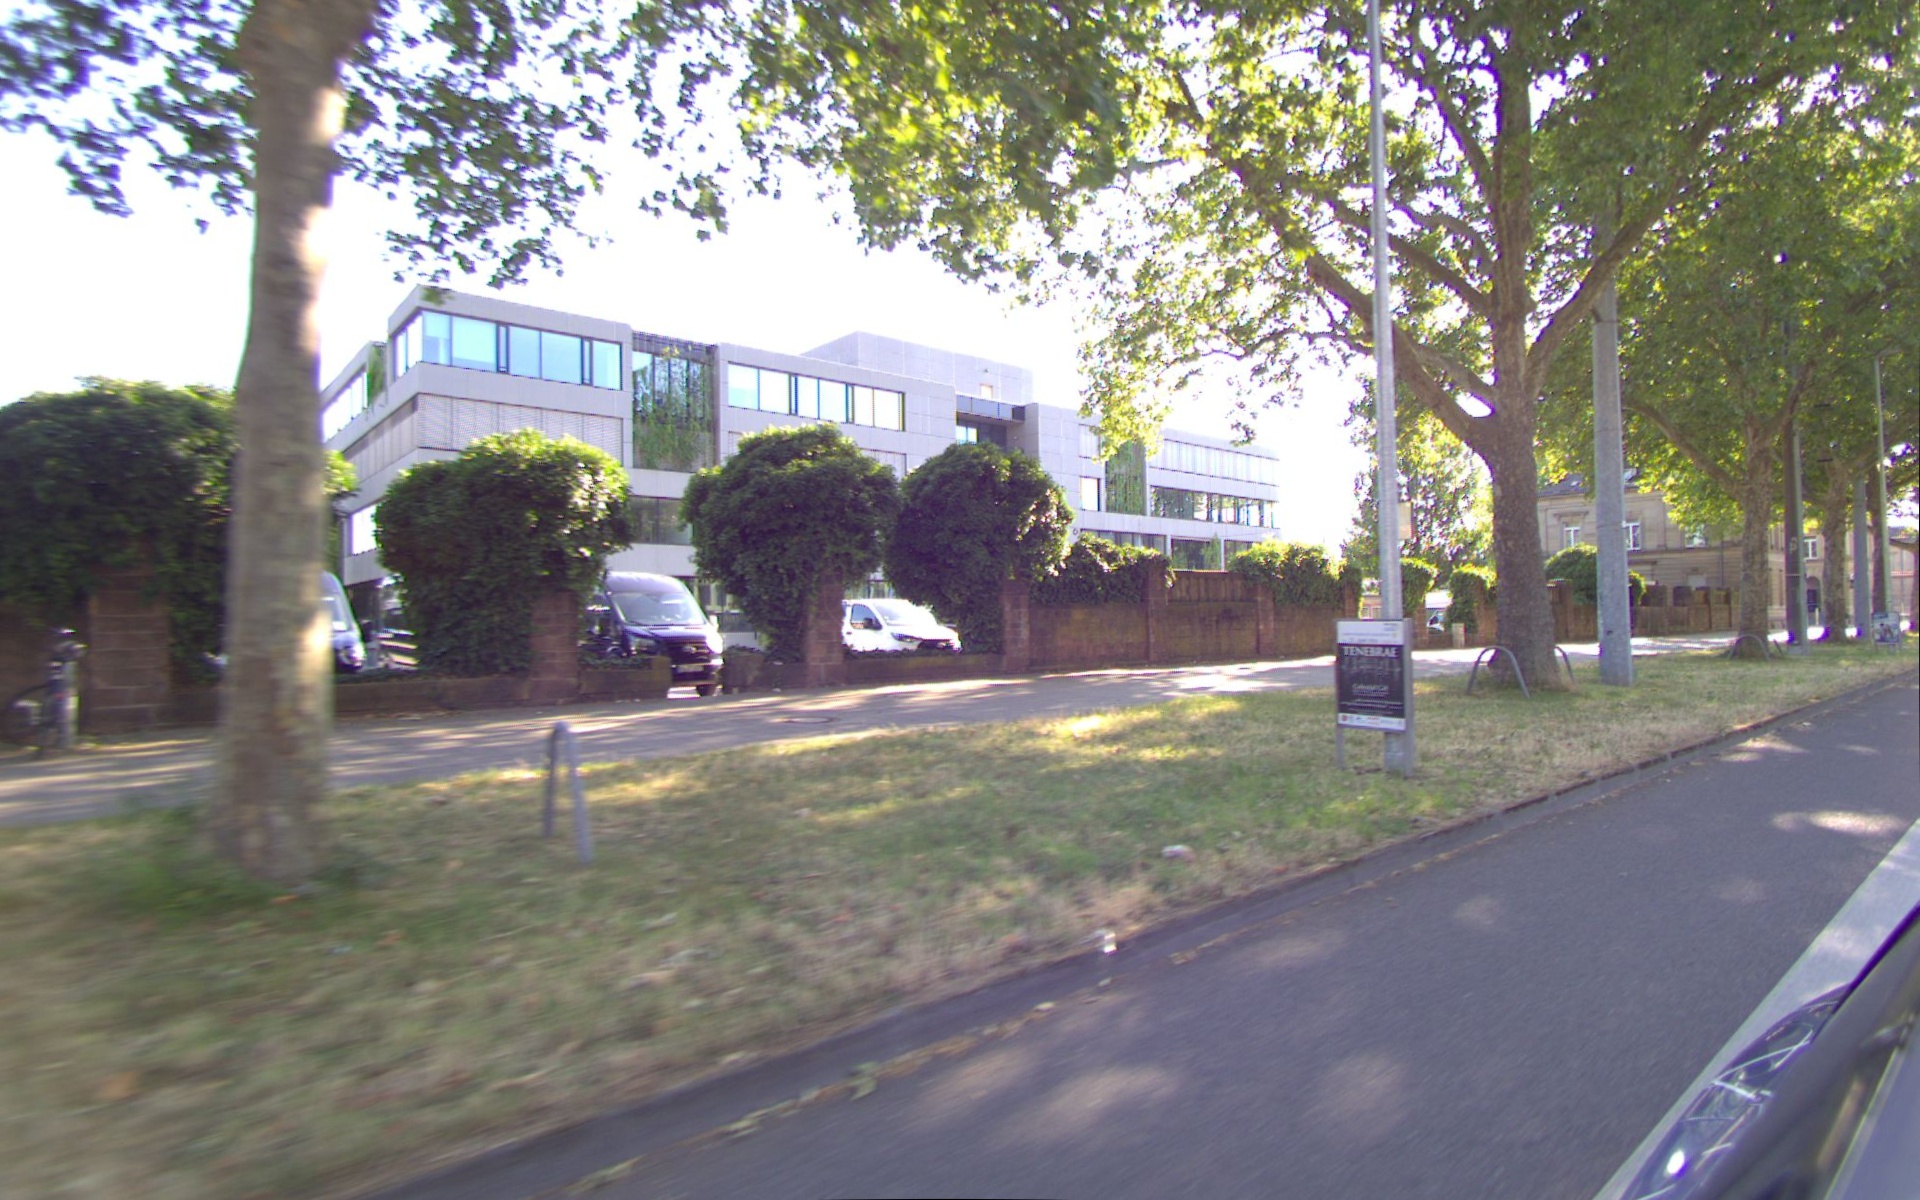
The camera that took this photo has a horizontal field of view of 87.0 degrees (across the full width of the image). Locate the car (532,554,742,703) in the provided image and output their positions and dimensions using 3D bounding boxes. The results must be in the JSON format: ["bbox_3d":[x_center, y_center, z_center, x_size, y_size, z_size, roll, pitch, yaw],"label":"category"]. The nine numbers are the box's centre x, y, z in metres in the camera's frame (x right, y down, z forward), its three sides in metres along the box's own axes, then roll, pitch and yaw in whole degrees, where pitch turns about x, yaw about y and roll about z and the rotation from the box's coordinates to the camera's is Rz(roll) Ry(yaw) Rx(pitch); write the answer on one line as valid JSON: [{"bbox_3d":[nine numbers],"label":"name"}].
[{"bbox_3d":[-6.508,0.582,19.916,1.965,2.522,5.468,0,-2,-40],"label":"car"}]

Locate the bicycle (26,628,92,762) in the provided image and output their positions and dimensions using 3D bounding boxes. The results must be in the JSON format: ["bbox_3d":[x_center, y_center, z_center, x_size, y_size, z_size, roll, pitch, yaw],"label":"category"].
[{"bbox_3d":[-8.600,0.860,9.684,0.432,1.134,1.690,0,0,-41],"label":"bicycle"}]

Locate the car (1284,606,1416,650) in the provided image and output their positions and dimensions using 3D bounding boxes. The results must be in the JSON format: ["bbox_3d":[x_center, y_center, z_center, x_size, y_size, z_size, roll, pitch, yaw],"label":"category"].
[{"bbox_3d":[14.408,1.027,37.494,4.099,1.541,2.012,-2,-1,41],"label":"car"}]

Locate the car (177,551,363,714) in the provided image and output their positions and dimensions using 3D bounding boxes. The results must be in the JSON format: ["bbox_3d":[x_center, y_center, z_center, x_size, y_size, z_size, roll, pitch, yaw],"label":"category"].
[{"bbox_3d":[-10.712,0.455,15.599,1.965,2.165,3.993,0,-1,-41],"label":"car"}]

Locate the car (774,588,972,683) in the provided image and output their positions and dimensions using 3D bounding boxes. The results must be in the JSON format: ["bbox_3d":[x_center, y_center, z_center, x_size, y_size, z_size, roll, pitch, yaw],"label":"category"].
[{"bbox_3d":[-2.205,0.837,23.993,1.965,2.008,5.270,0,-2,-40],"label":"car"}]

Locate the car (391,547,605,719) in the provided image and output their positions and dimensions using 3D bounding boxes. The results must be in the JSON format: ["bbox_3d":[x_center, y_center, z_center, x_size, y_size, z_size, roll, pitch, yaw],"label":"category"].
[{"bbox_3d":[-8.203,0.583,17.627,1.965,2.522,5.468,0,-2,-40],"label":"car"}]

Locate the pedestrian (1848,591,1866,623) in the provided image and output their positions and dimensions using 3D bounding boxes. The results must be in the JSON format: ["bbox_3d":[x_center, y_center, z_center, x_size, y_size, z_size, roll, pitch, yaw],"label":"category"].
[{"bbox_3d":[50.323,0.376,56.766,0.769,1.766,0.784,0,0,43],"label":"pedestrian"}]
